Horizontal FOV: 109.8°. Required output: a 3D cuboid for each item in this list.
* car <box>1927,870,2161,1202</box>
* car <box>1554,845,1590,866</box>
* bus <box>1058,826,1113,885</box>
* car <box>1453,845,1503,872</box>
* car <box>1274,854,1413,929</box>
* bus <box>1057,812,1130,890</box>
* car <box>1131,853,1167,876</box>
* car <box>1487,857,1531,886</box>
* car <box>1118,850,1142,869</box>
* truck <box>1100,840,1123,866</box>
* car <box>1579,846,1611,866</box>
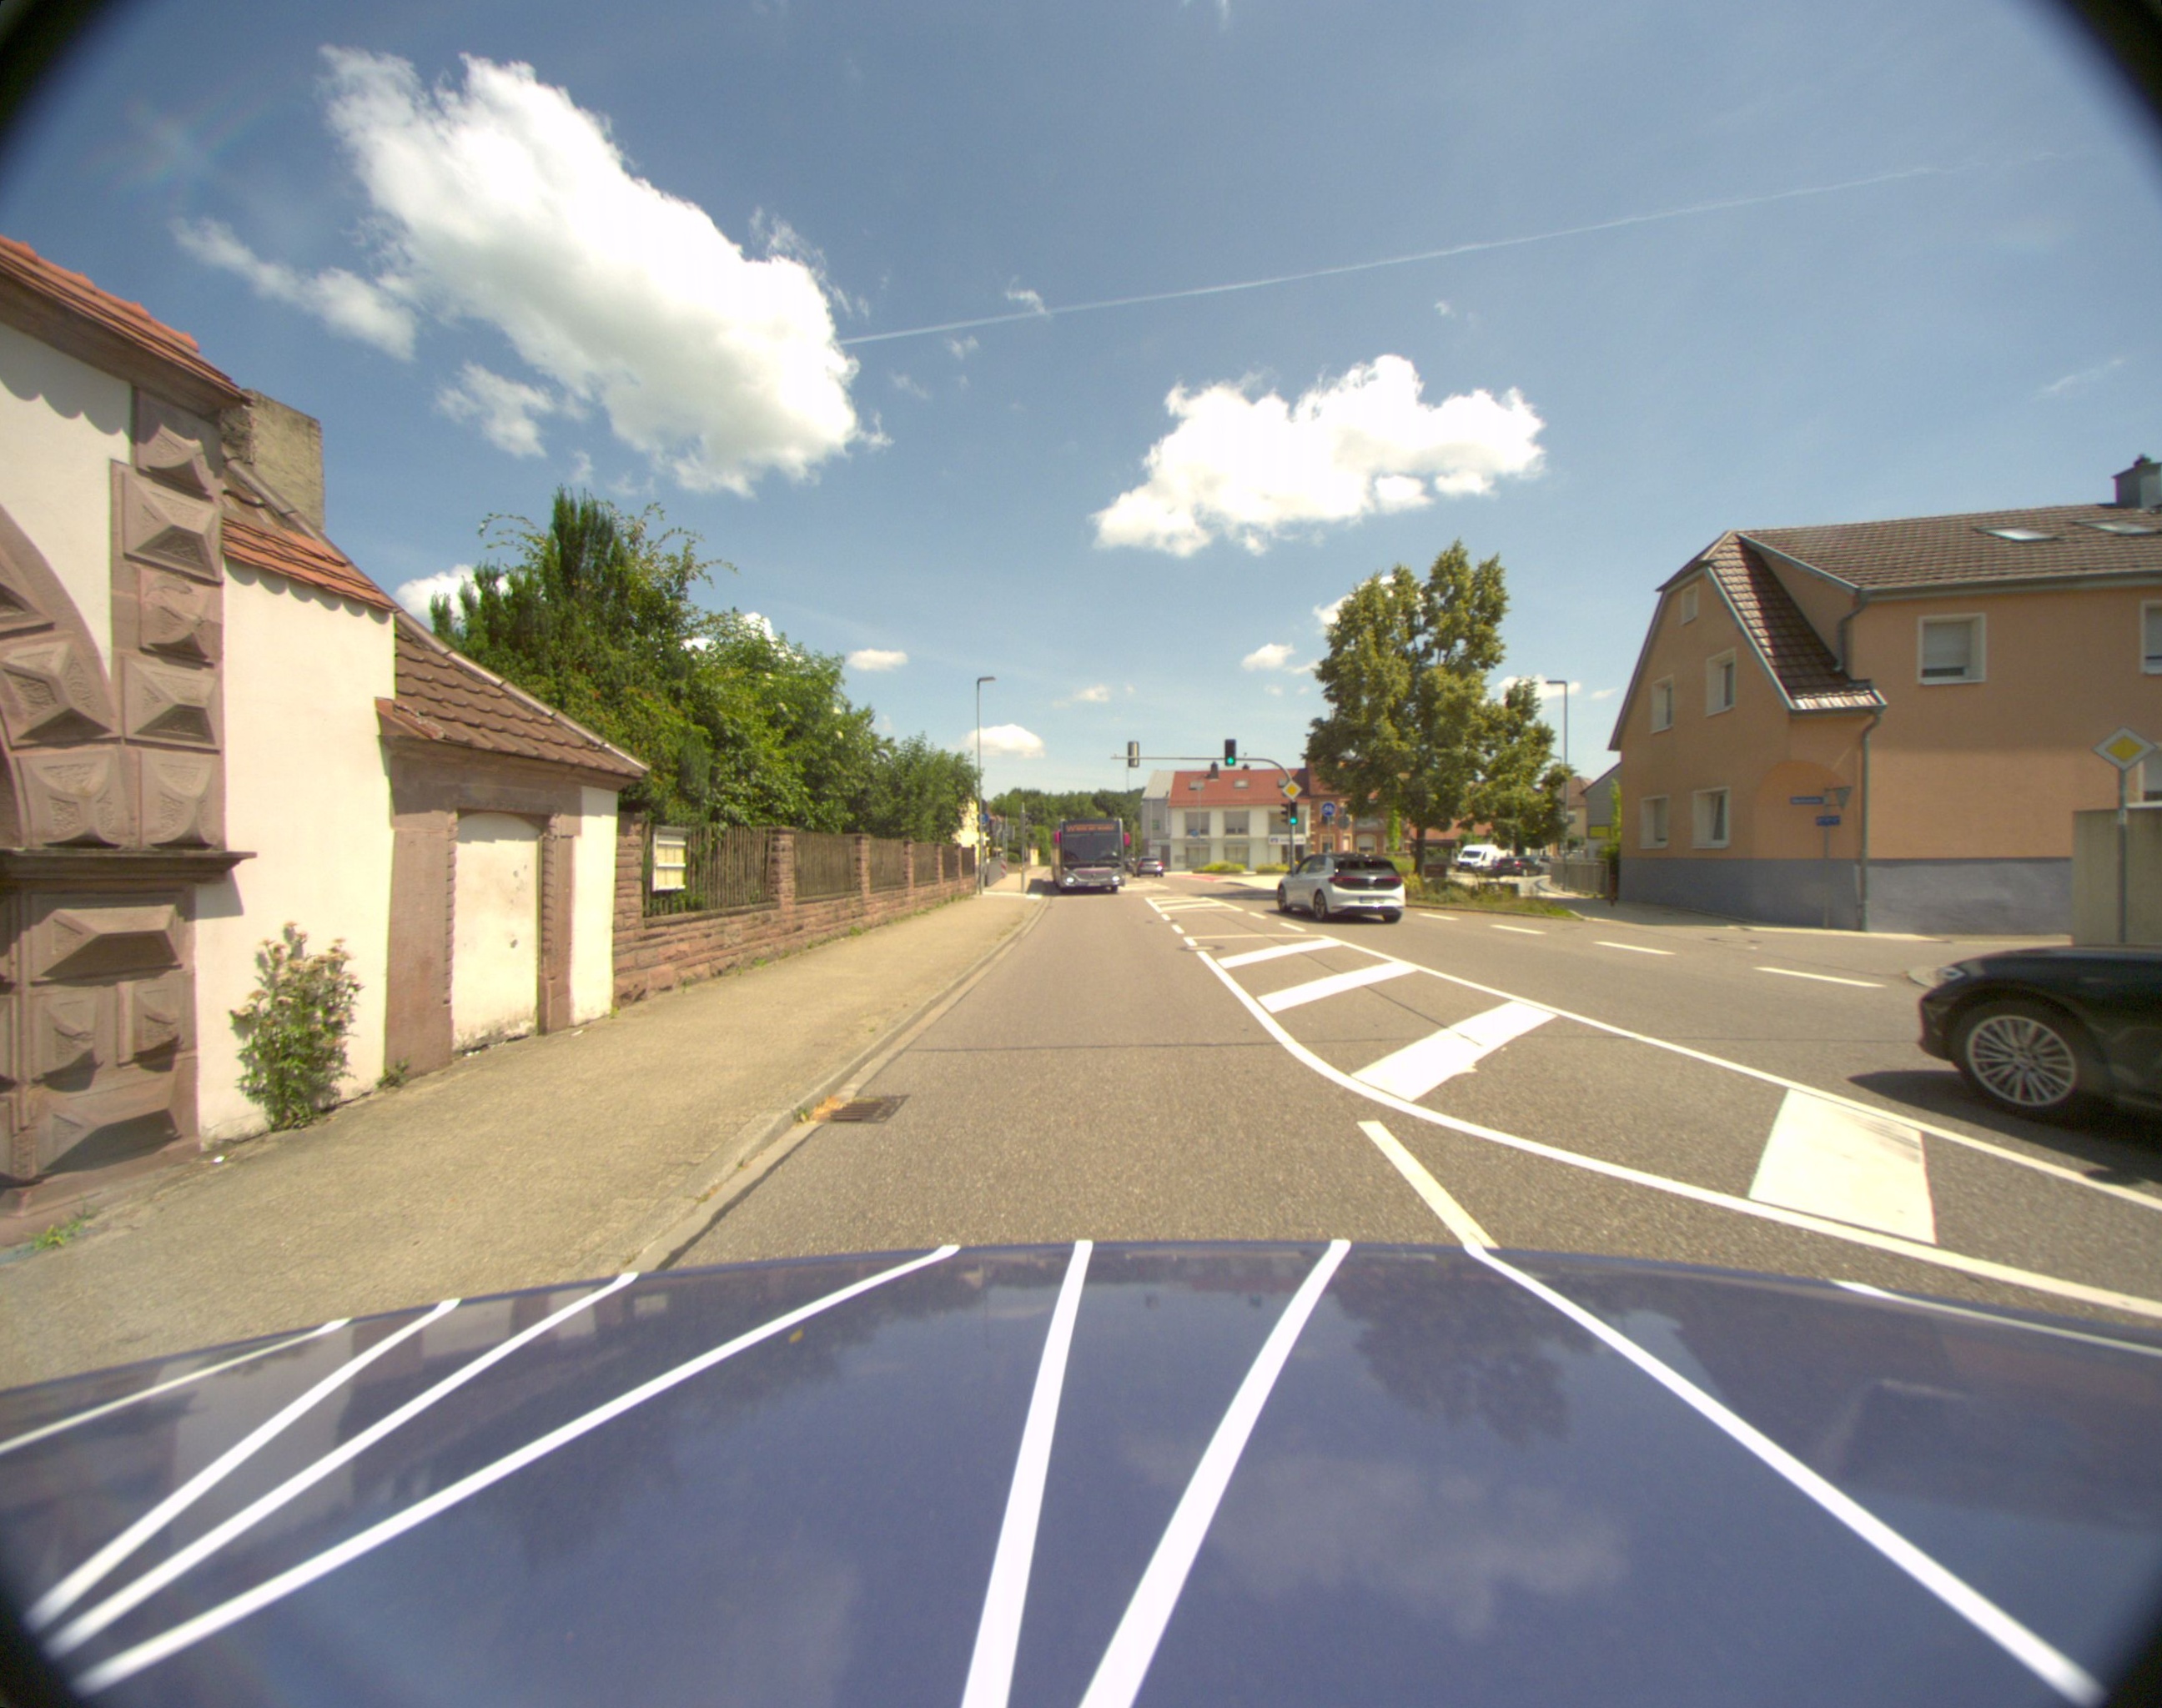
[{"bbox_3d":[5.792,0.872,2.209,1.798,1.484,4.421,1,1,2],"label":"car"},{"bbox_3d":[57.622,0.191,89.187,5.122,2.332,2.167,0,1,-41],"label":"car"},{"bbox_3d":[0.124,0.218,43.004,2.756,2.949,9.281,1,-2,-1],"label":"bus"},{"bbox_3d":[35.278,0.368,67.495,5.122,2.332,2.167,0,1,-41],"label":"car"},{"bbox_3d":[6.004,0.785,17.910,1.800,1.499,4.132,1,1,-1],"label":"car"},{"bbox_3d":[0.376,0.025,33.680,2.756,2.949,9.281,1,-2,-1],"label":"bus"},{"bbox_3d":[4.682,0.707,52.970,1.868,1.434,4.215,0,1,-4],"label":"car"},{"bbox_3d":[30.746,1.202,54.534,1.994,2.002,4.009,0,0,40],"label":"car"},{"bbox_3d":[4.353,0.484,68.165,1.744,1.641,3.667,-1,0,-3],"label":"car"},{"bbox_3d":[3.852,-0.169,96.476,2.509,3.217,6.038,1,1,-2],"label":"truck"},{"bbox_3d":[47.279,0.172,69.905,2.063,1.718,4.008,1,1,39],"label":"car"}]
